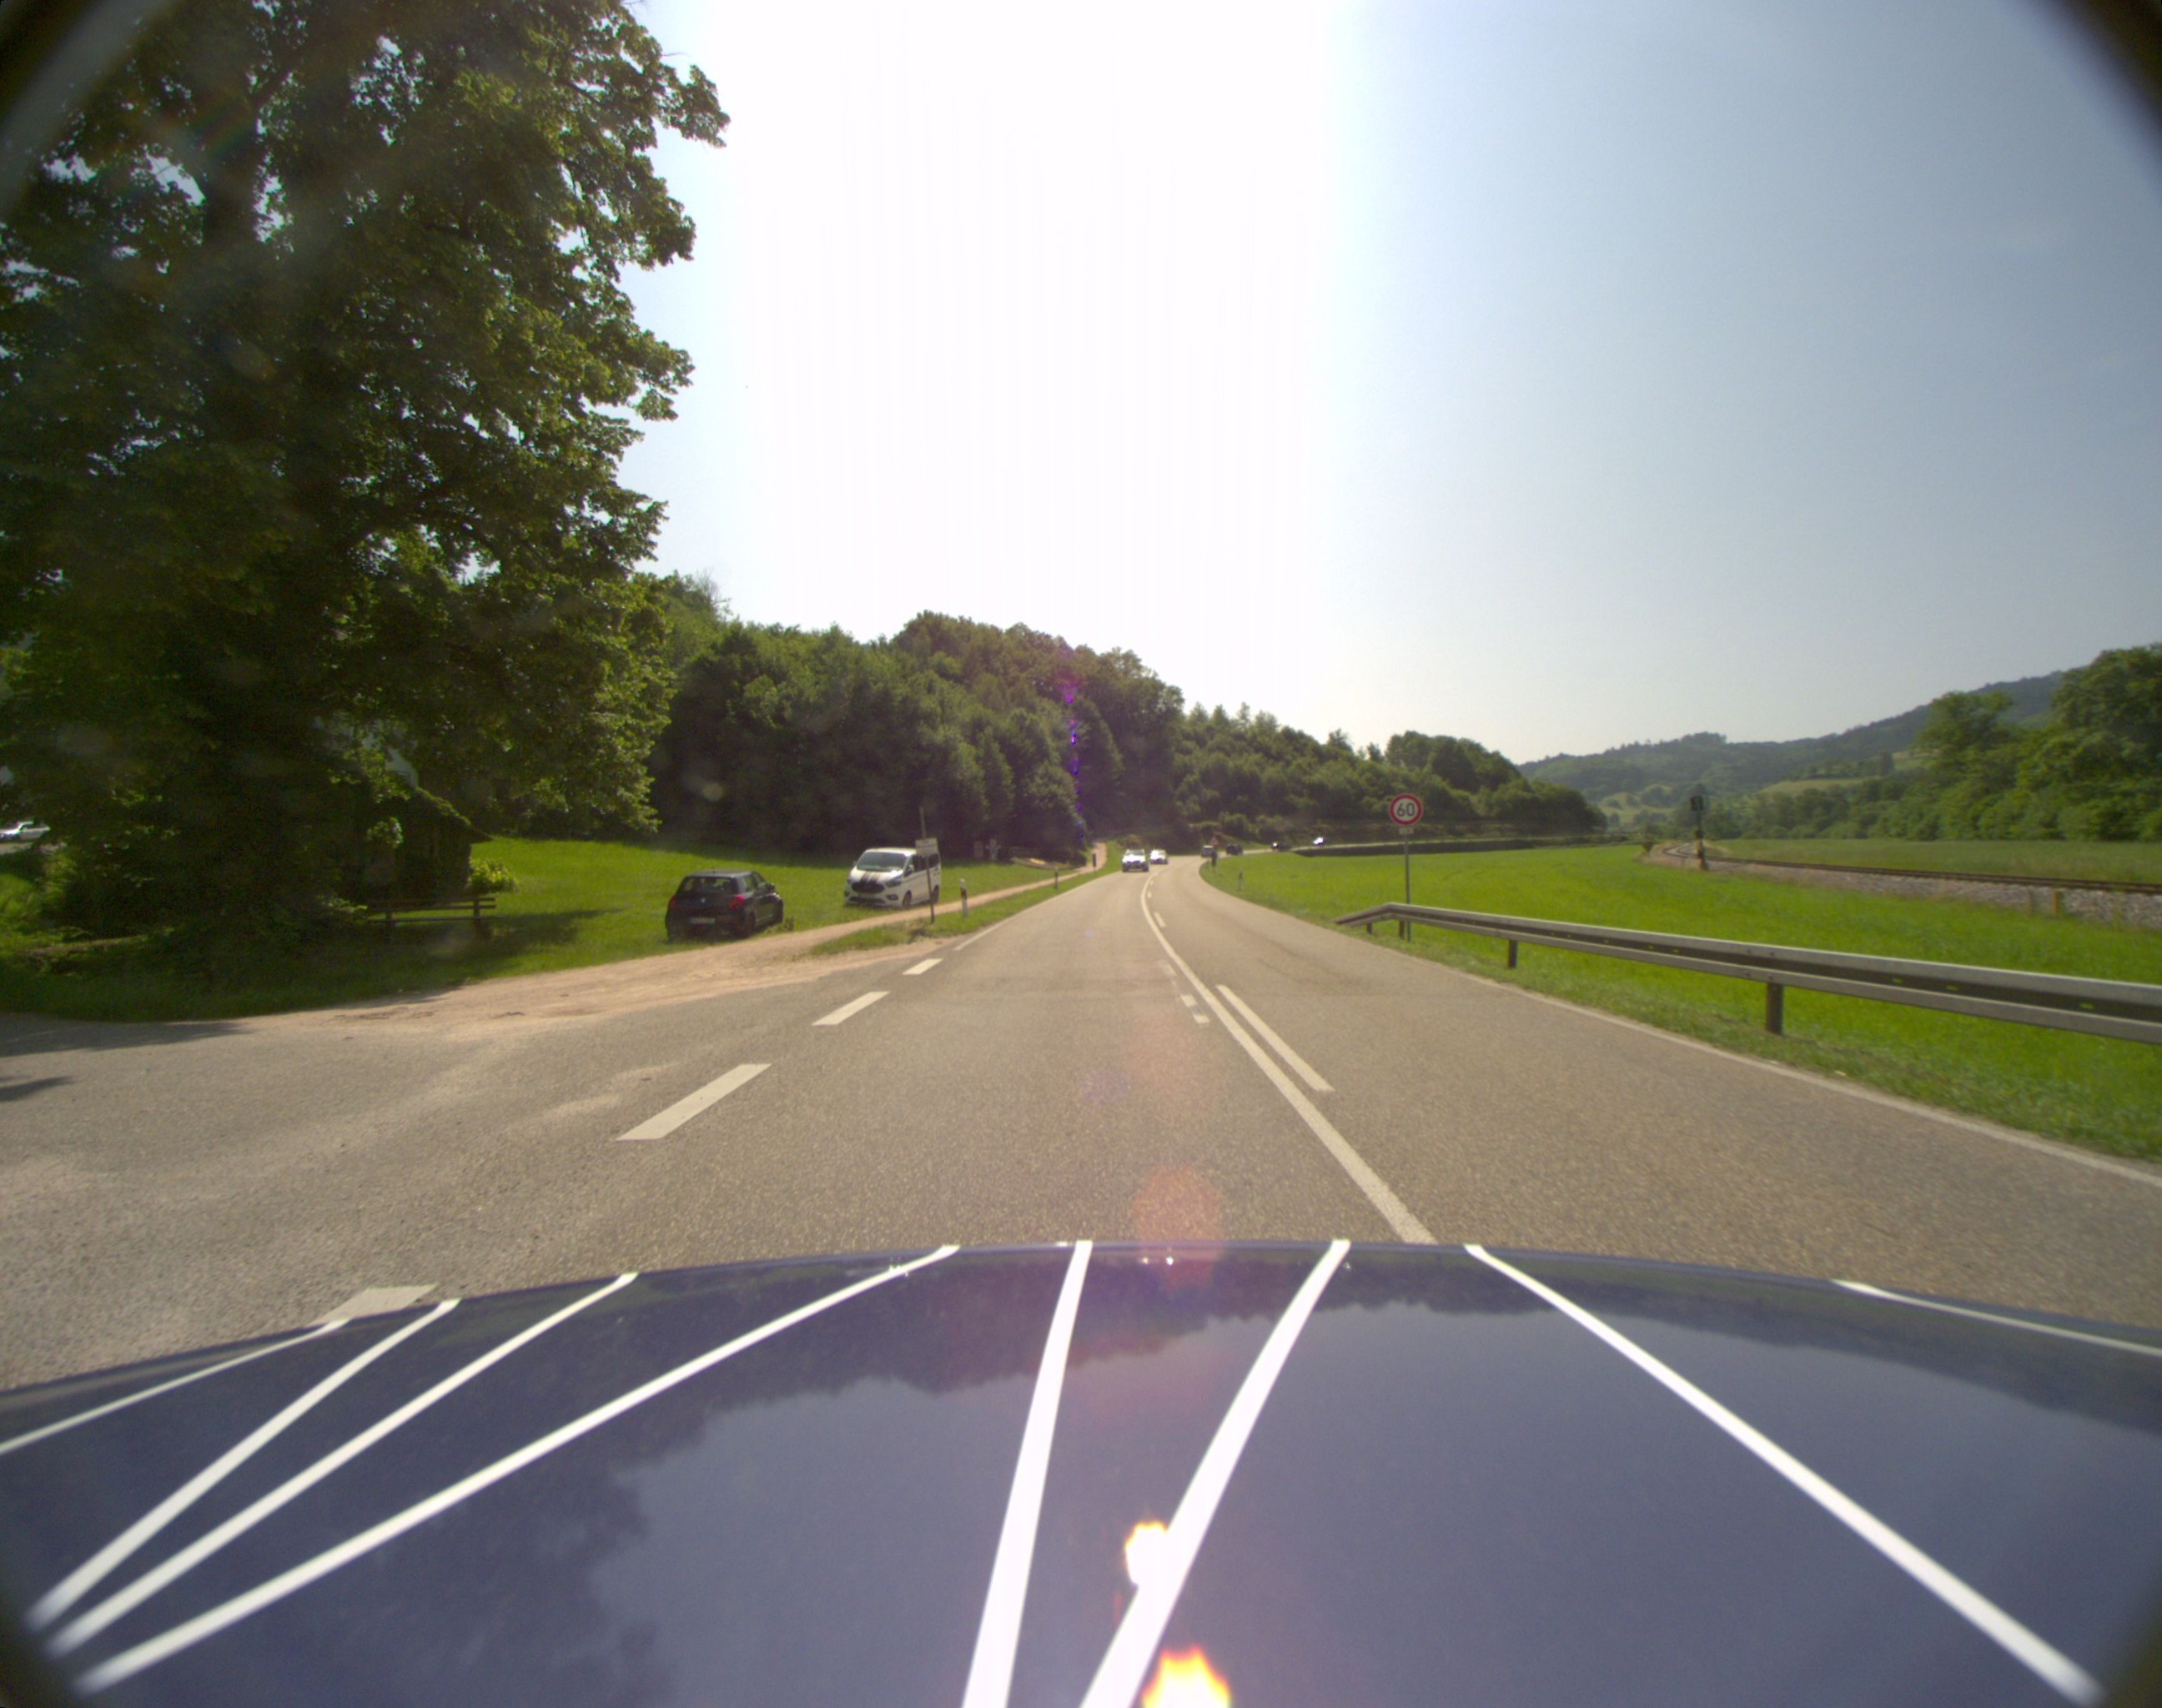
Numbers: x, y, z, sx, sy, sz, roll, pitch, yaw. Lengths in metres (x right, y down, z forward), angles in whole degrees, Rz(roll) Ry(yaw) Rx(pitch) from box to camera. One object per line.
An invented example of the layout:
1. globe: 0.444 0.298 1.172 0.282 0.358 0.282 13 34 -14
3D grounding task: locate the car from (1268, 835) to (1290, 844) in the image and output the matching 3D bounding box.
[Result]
1. car: 36.256 -2.622 139.127 4.519 1.462 1.917 -3 0 -45

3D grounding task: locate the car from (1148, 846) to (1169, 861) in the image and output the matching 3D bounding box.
1. car: 8.422 -0.048 82.220 2.145 1.482 4.675 -1 0 8

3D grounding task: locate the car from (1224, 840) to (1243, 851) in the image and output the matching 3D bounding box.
1. car: 24.314 -1.350 120.742 1.867 1.614 4.518 -4 -1 25

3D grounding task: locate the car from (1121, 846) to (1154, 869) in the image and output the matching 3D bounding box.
1. car: 4.635 0.277 61.799 2.116 1.804 4.458 -1 1 11

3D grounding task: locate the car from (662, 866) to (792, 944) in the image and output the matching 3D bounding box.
1. car: -8.033 1.099 17.603 1.679 1.448 3.712 1 2 -7

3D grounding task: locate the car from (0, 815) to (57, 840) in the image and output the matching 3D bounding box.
1. car: -73.324 -1.817 52.536 2.004 1.608 3.989 -1 0 -38

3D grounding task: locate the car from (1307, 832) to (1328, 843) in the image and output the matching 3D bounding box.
1. car: 47.484 -3.332 152.669 4.007 2.002 1.995 -1 0 -33

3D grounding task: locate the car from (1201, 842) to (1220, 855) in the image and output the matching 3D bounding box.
1. car: 18.305 -0.788 107.085 1.917 1.704 4.165 0 1 20

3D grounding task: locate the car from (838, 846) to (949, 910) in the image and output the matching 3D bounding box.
1. car: -6.245 0.715 25.980 2.003 1.838 4.871 4 1 6
